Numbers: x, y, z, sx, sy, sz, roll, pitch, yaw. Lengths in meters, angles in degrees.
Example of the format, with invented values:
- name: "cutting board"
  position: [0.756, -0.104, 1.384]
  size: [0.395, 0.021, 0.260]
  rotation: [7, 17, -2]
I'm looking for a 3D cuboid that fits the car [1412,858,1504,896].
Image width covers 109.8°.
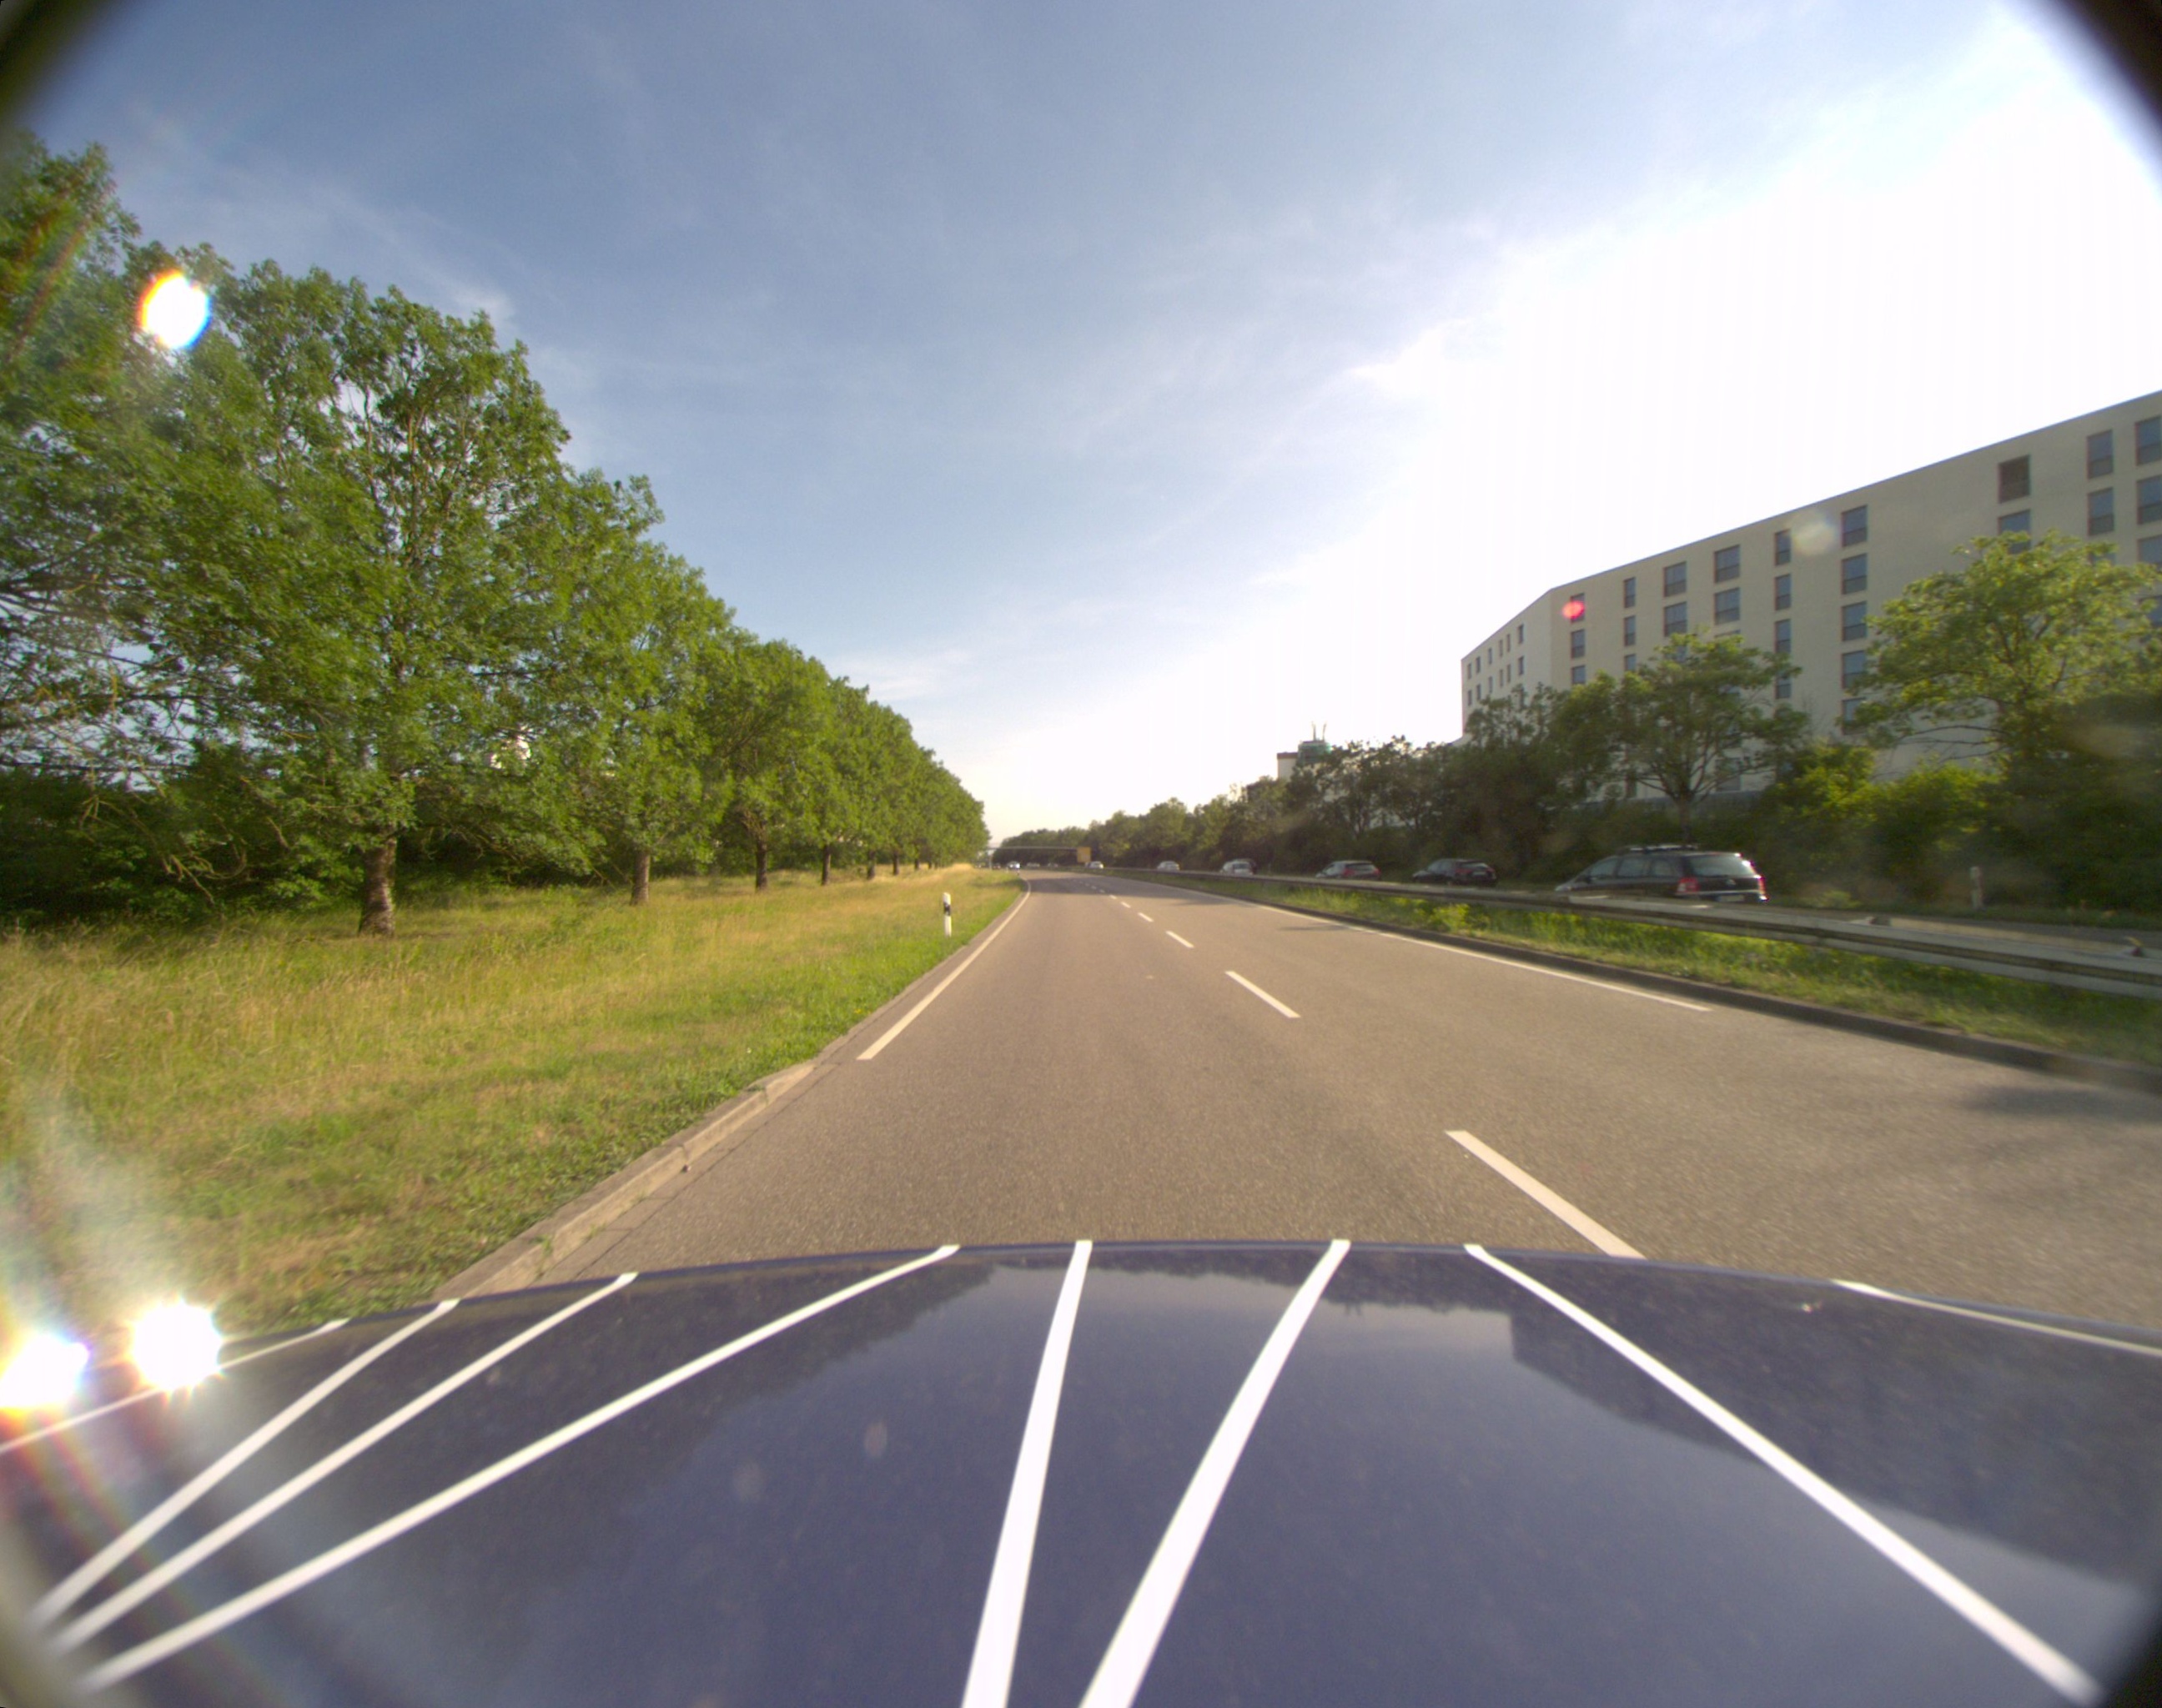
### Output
- name: "car"
  position: [15.635, 0.915, 31.745]
  size: [1.673, 1.432, 3.938]
  rotation: [-2, 0, -3]

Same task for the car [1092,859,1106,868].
- name: "car"
  position: [2.959, 1.530, 124.209]
  size: [1.646, 1.432, 4.199]
  rotation: [-2, 0, -8]

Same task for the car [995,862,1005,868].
- name: "car"
  position: [-20.303, 2.822, 189.693]
  size: [1.903, 1.377, 4.351]
  rotation: [-2, 0, -14]

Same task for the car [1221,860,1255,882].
- name: "car"
  position: [10.772, 1.143, 52.208]
  size: [1.607, 1.433, 3.236]
  rotation: [-2, 0, -1]

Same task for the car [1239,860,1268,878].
- name: "car"
  position: [14.482, 1.260, 63.921]
  size: [1.607, 1.433, 3.235]
  rotation: [-2, 0, -2]

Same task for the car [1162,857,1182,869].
- name: "car"
  position: [10.761, 1.069, 90.239]
  size: [1.608, 1.432, 3.234]
  rotation: [-2, 0, -6]

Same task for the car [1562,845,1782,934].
- name: "car"
  position: [12.288, 0.677, 16.103]
  size: [1.736, 1.602, 3.523]
  rotation: [-2, 0, -4]

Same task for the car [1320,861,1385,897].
- name: "car"
  position: [11.942, 1.055, 33.593]
  size: [1.607, 1.432, 3.236]
  rotation: [-2, 0, -1]

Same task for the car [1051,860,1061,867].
- name: "car"
  position: [-5.712, 2.156, 174.150]
  size: [1.608, 1.432, 4.198]
  rotation: [-2, 0, -10]

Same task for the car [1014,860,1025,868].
- name: "car"
  position: [-14.315, 2.321, 176.269]
  size: [1.903, 1.813, 4.351]
  rotation: [-2, 0, -14]
